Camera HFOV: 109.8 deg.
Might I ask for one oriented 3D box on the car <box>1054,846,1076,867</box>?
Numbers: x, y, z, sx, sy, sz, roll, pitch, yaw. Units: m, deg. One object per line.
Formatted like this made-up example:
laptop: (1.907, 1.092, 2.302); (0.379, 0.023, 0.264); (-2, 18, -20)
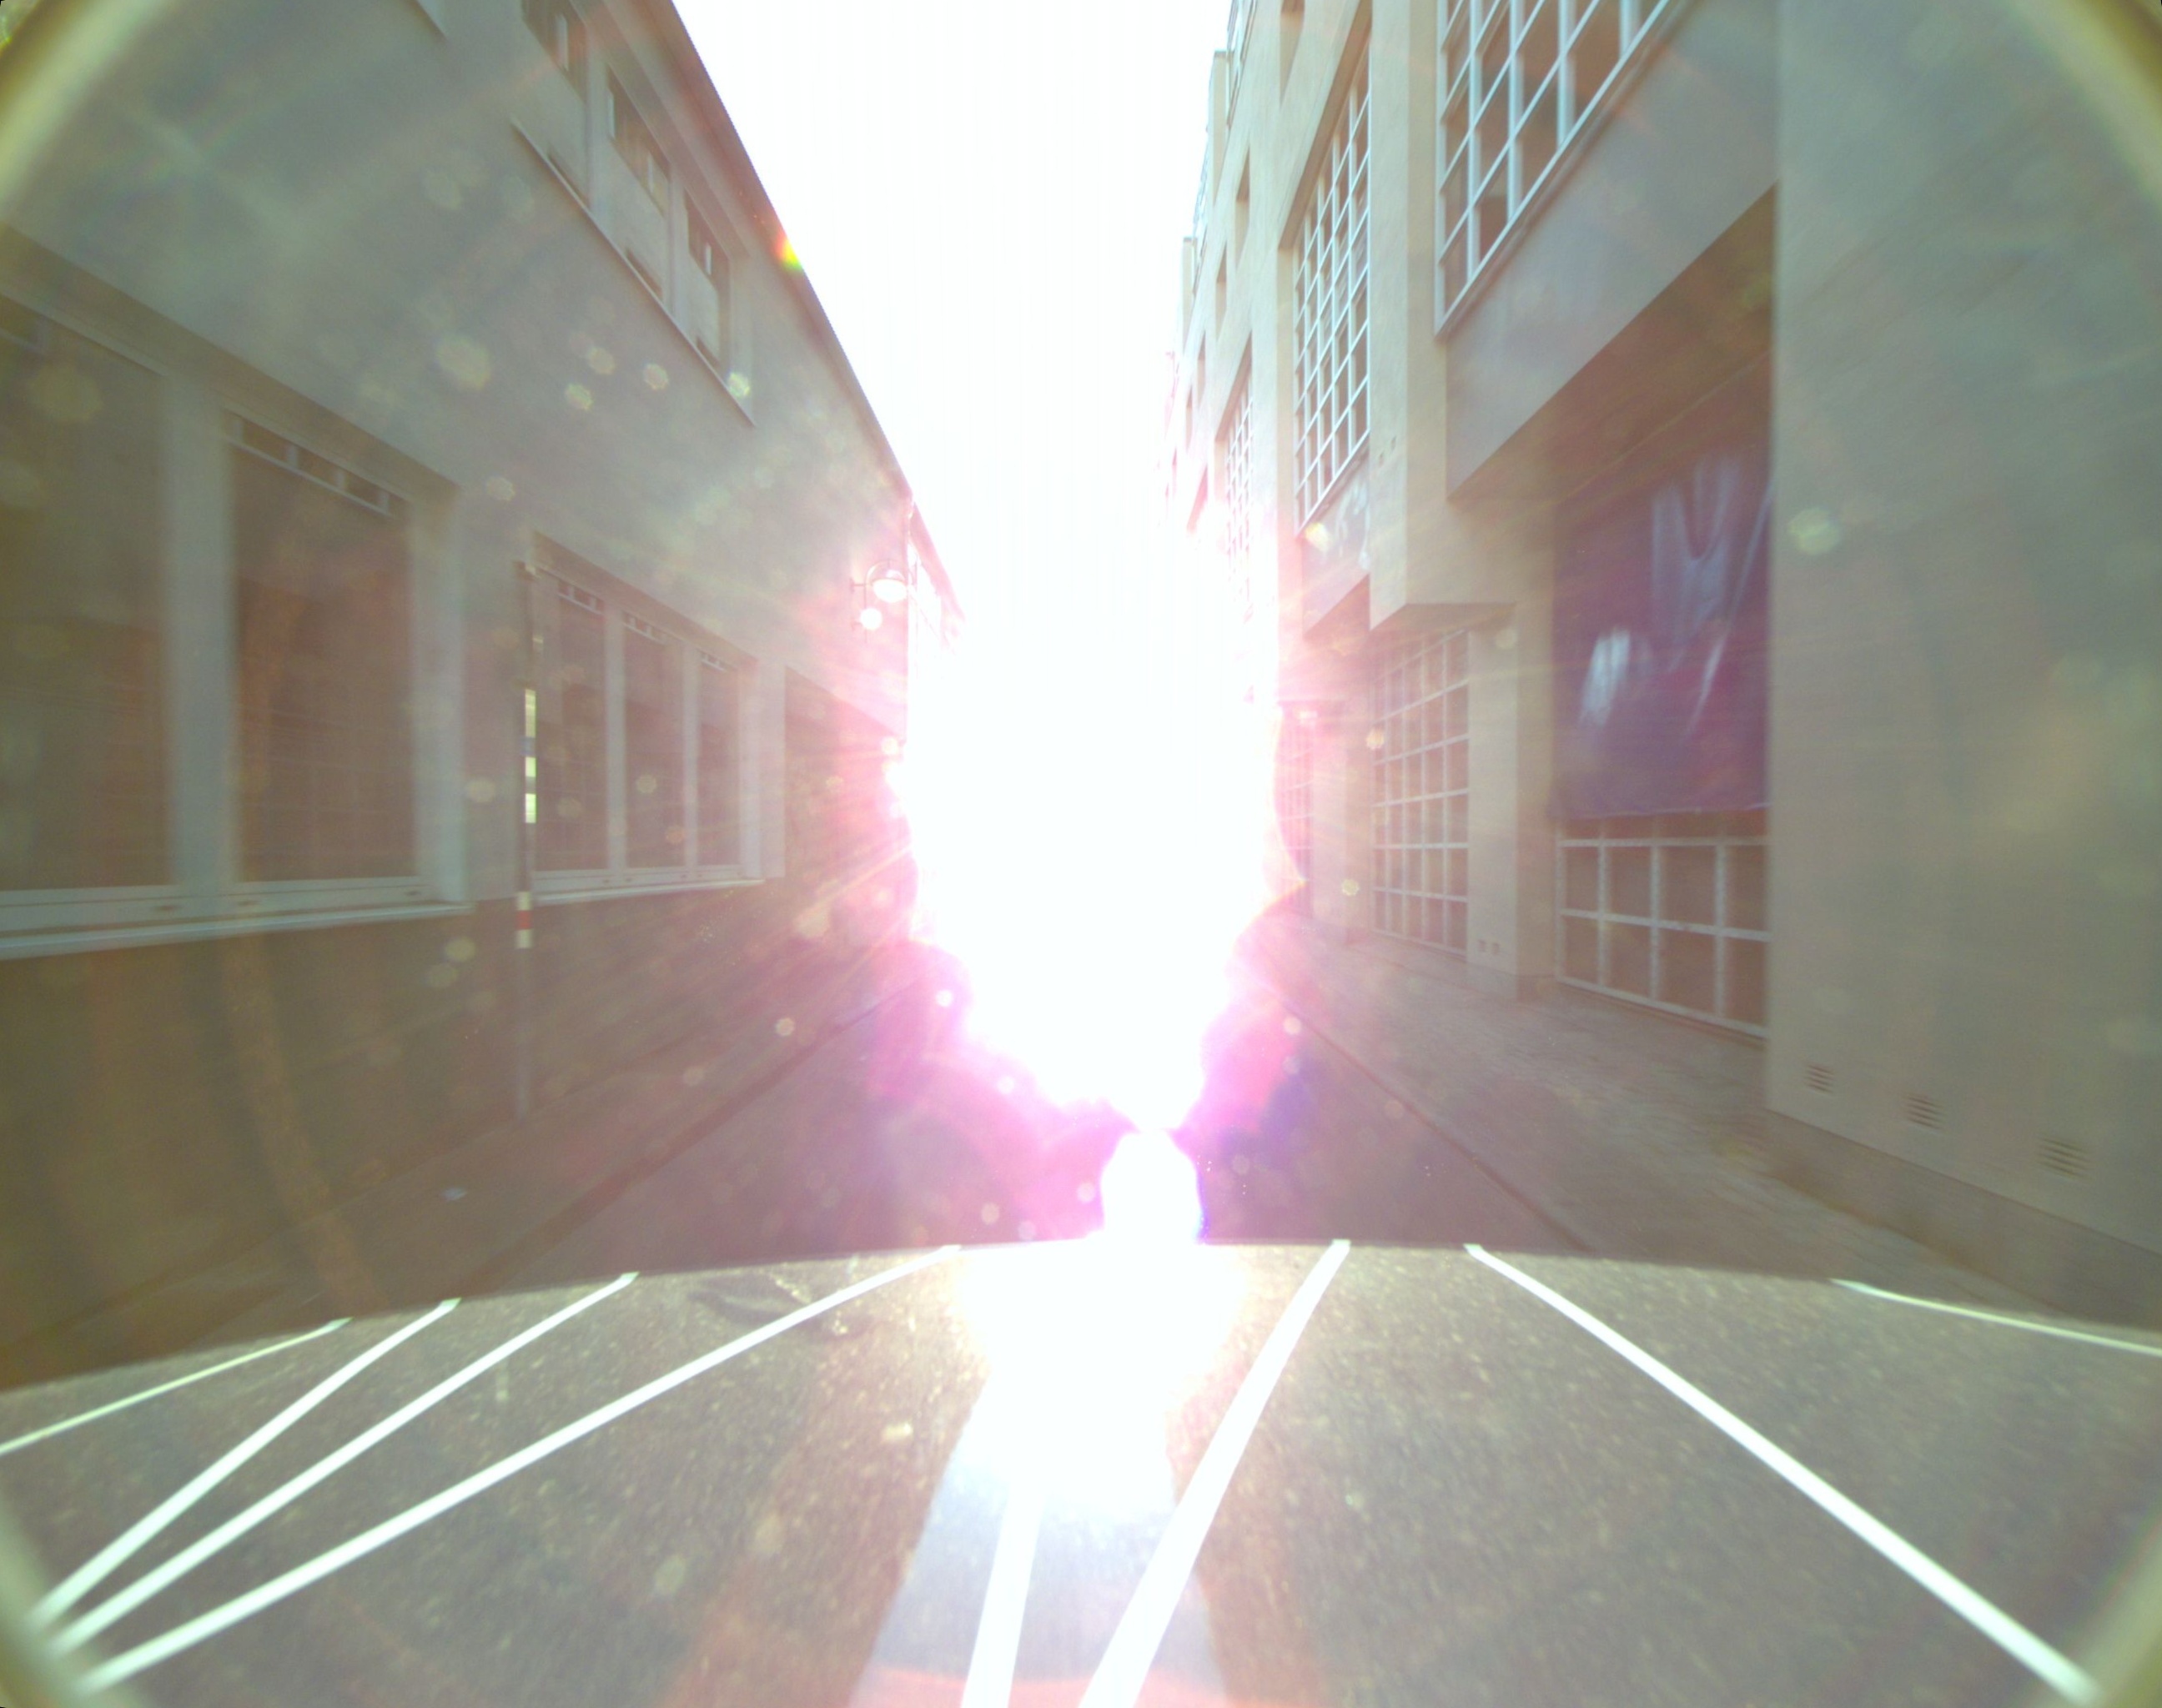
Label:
car: (-1.438, 0.226, 69.289); (1.764, 1.756, 4.749); (-2, 0, 0)

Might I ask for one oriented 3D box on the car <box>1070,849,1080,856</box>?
car: (-1.243, -0.318, 153.932); (1.806, 1.415, 3.754); (-2, 1, -4)
